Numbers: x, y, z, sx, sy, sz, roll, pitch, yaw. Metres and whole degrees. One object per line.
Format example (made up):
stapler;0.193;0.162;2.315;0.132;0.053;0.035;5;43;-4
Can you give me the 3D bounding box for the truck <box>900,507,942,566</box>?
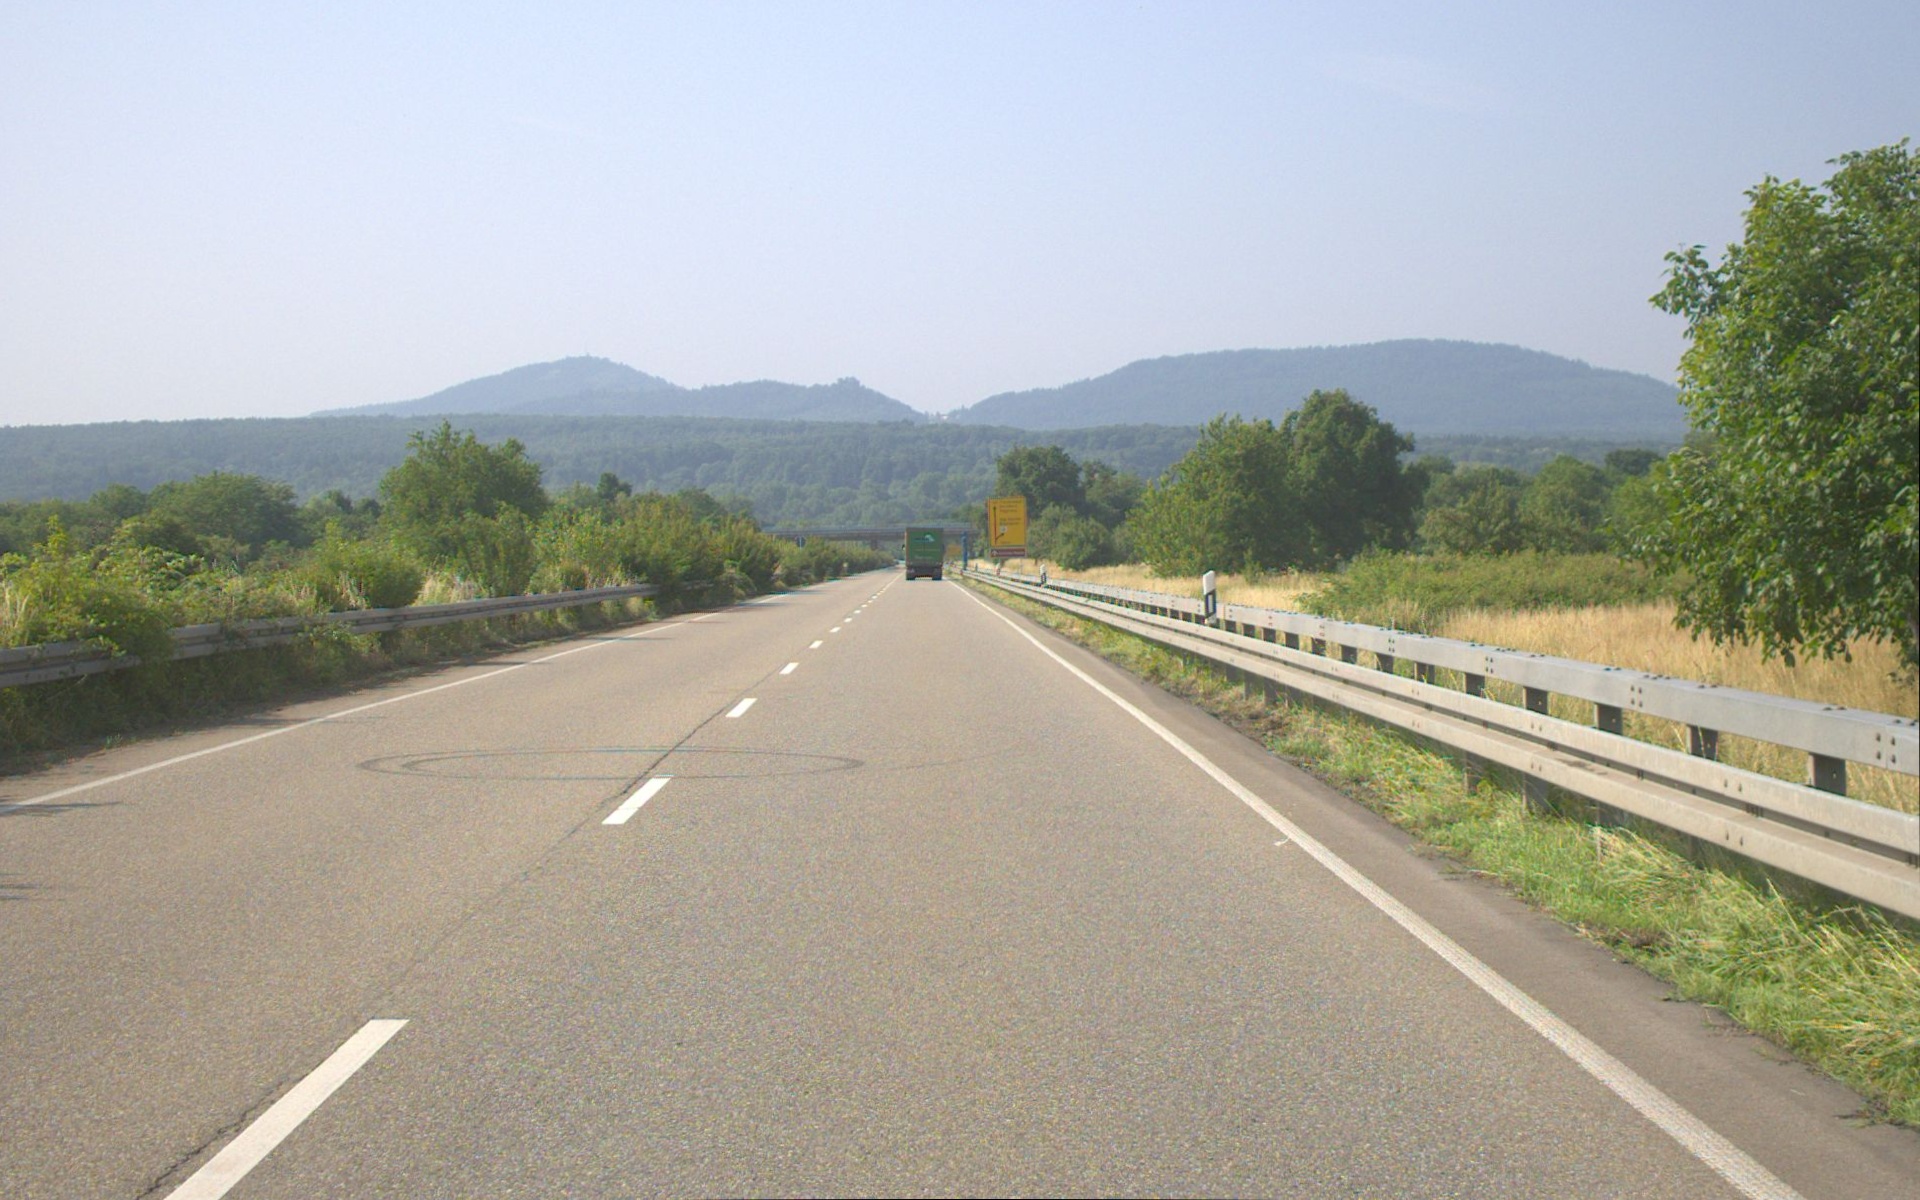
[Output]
truck;-2.685;-4.470;239.589;2.722;3.952;10.416;1;2;0
